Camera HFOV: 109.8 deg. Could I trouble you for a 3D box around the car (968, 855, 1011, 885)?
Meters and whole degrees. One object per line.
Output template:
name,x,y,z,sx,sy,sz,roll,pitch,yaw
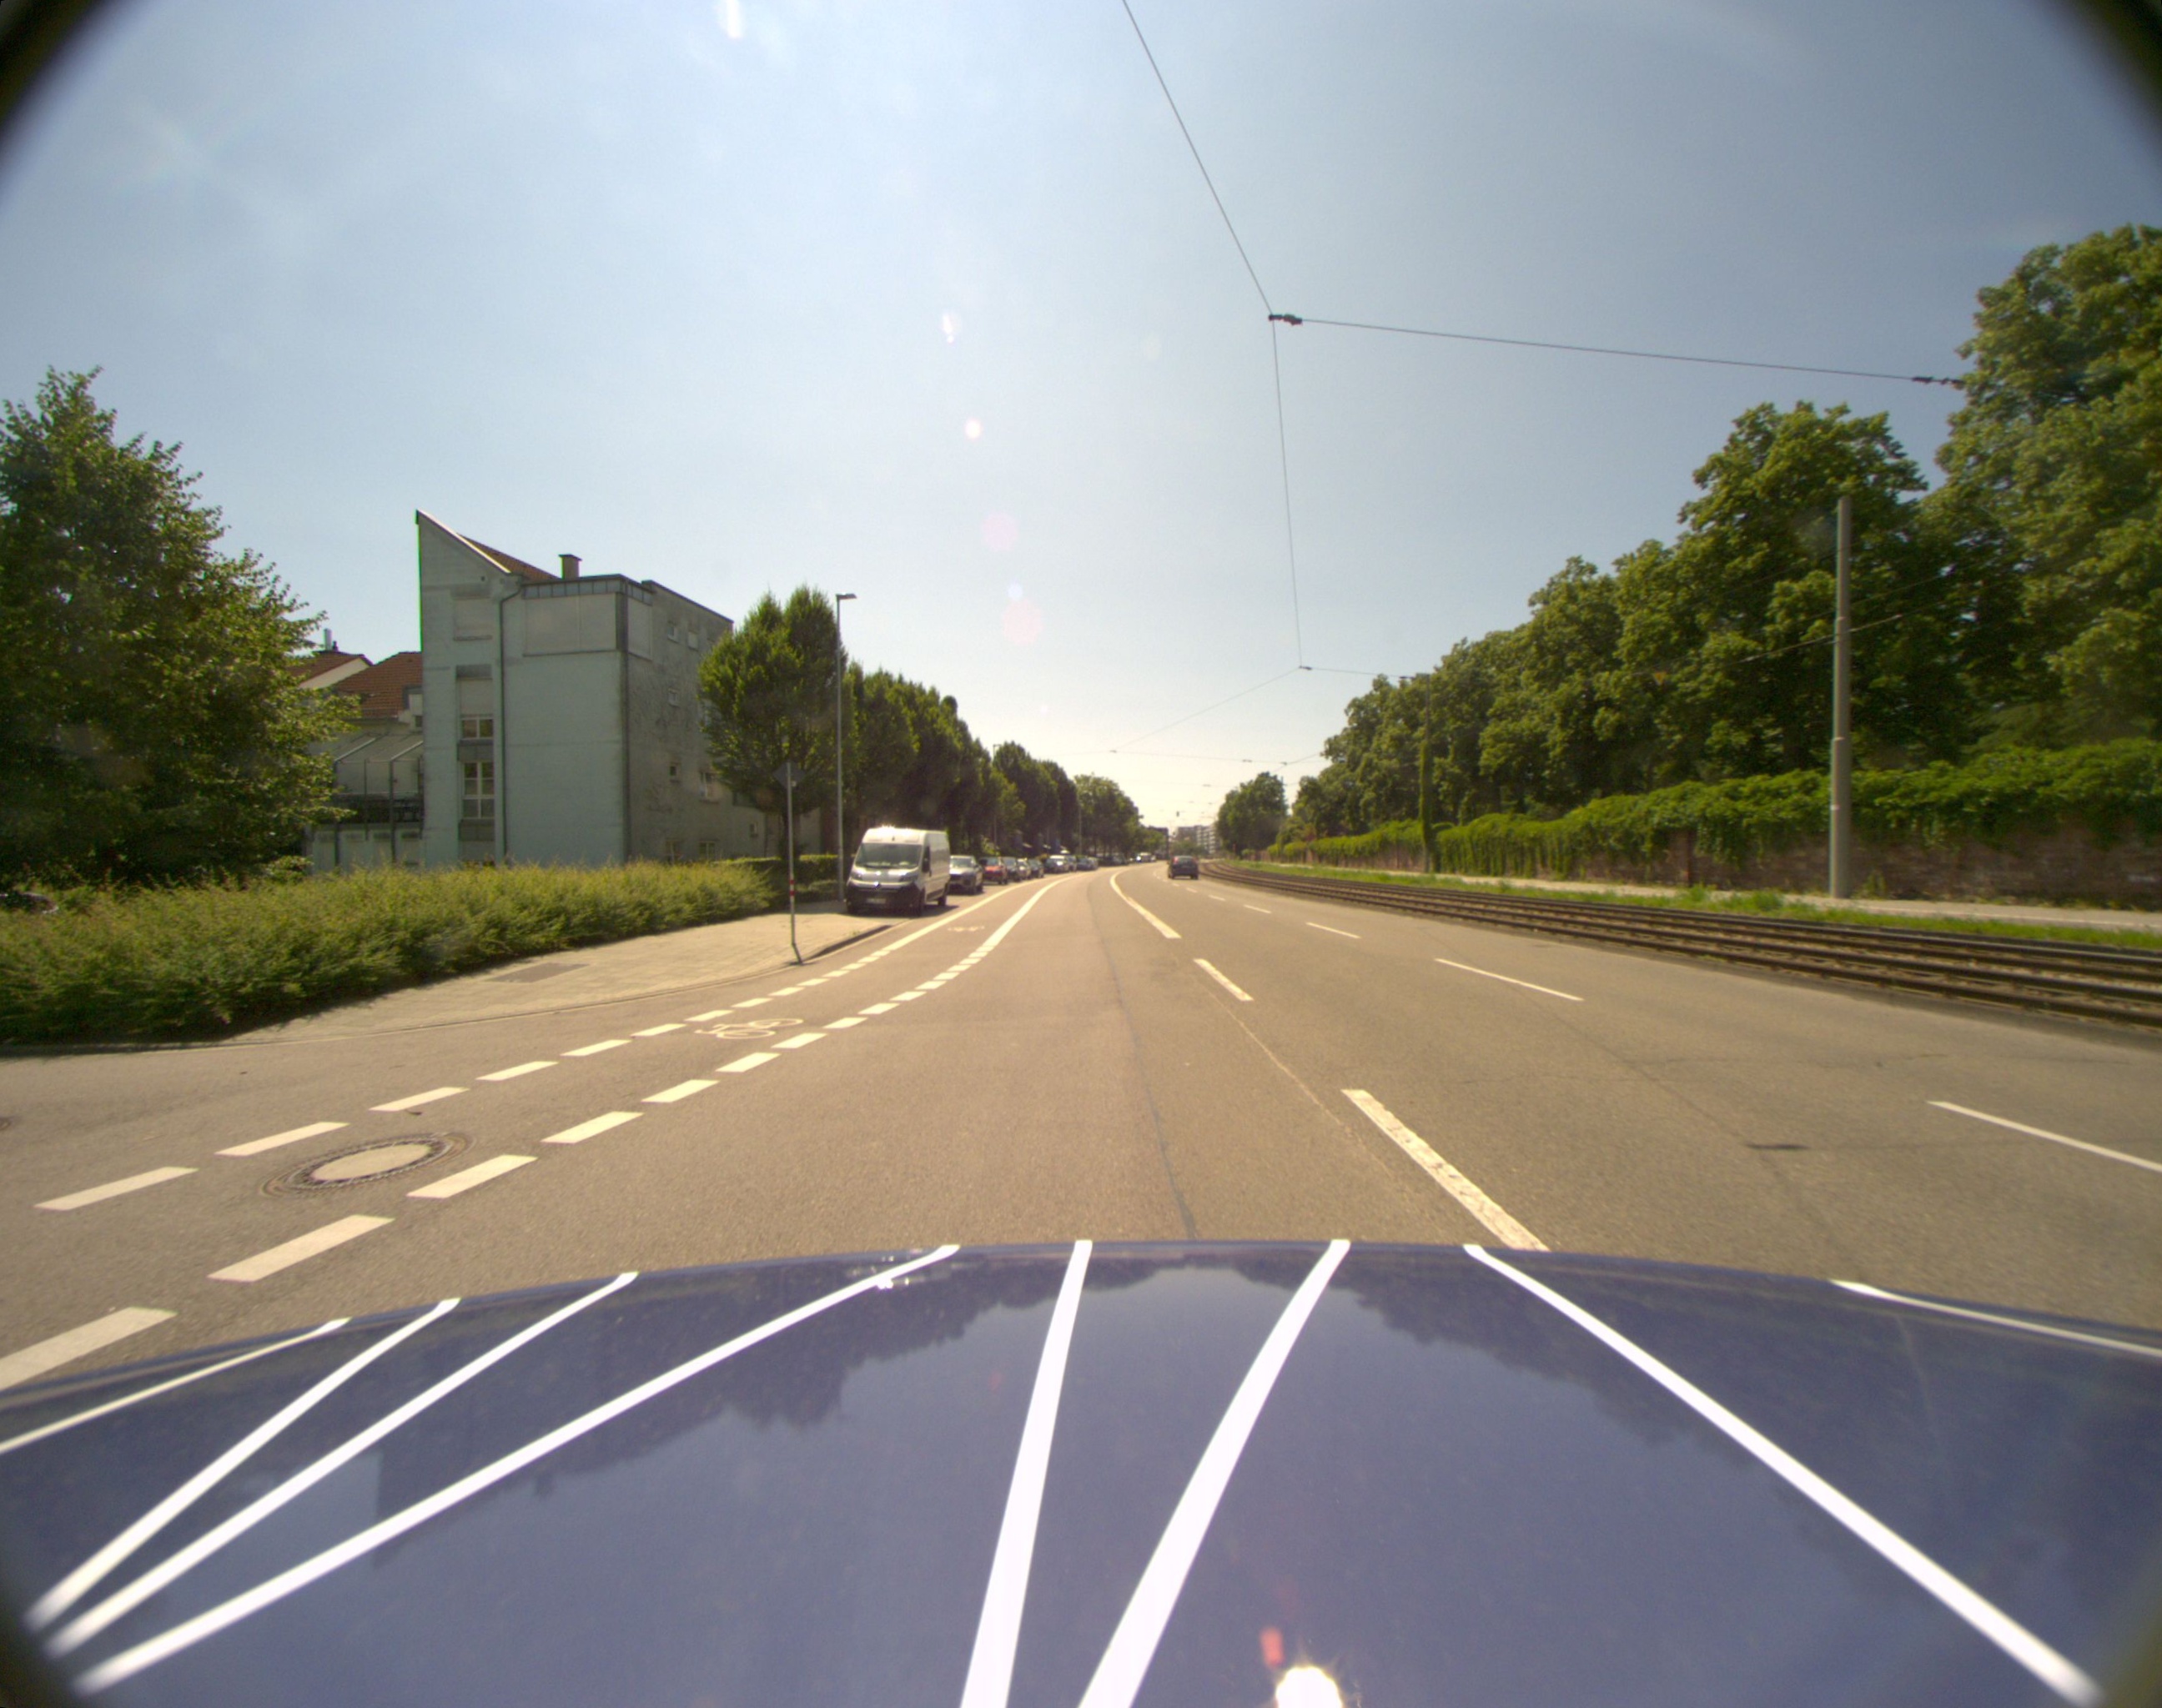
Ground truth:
car,-5.140,0.851,43.174,1.813,1.543,4.000,-1,1,1

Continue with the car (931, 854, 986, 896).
car,-5.190,0.854,32.705,1.828,1.624,3.999,1,0,-2

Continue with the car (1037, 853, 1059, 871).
car,-3.107,0.714,71.797,1.725,1.587,4.000,-1,1,3

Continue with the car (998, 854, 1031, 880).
car,-4.673,0.889,53.926,1.906,1.652,4.000,-1,1,1

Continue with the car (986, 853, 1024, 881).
car,-4.863,0.805,49.087,1.998,1.652,4.000,-1,0,1

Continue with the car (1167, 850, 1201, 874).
car,6.579,0.506,48.961,1.696,1.460,4.000,-1,0,1

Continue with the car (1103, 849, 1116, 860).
car,4.567,0.115,123.030,1.998,1.718,4.000,-1,0,1

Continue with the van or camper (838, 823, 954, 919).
van or camper,-5.400,0.420,23.138,2.126,2.469,5.992,2,1,-1

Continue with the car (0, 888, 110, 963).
car,-25.083,1.609,17.159,4.221,1.512,2.001,-1,1,8

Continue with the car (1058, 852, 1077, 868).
car,-1.497,0.657,83.794,1.907,1.707,4.000,-1,1,1
